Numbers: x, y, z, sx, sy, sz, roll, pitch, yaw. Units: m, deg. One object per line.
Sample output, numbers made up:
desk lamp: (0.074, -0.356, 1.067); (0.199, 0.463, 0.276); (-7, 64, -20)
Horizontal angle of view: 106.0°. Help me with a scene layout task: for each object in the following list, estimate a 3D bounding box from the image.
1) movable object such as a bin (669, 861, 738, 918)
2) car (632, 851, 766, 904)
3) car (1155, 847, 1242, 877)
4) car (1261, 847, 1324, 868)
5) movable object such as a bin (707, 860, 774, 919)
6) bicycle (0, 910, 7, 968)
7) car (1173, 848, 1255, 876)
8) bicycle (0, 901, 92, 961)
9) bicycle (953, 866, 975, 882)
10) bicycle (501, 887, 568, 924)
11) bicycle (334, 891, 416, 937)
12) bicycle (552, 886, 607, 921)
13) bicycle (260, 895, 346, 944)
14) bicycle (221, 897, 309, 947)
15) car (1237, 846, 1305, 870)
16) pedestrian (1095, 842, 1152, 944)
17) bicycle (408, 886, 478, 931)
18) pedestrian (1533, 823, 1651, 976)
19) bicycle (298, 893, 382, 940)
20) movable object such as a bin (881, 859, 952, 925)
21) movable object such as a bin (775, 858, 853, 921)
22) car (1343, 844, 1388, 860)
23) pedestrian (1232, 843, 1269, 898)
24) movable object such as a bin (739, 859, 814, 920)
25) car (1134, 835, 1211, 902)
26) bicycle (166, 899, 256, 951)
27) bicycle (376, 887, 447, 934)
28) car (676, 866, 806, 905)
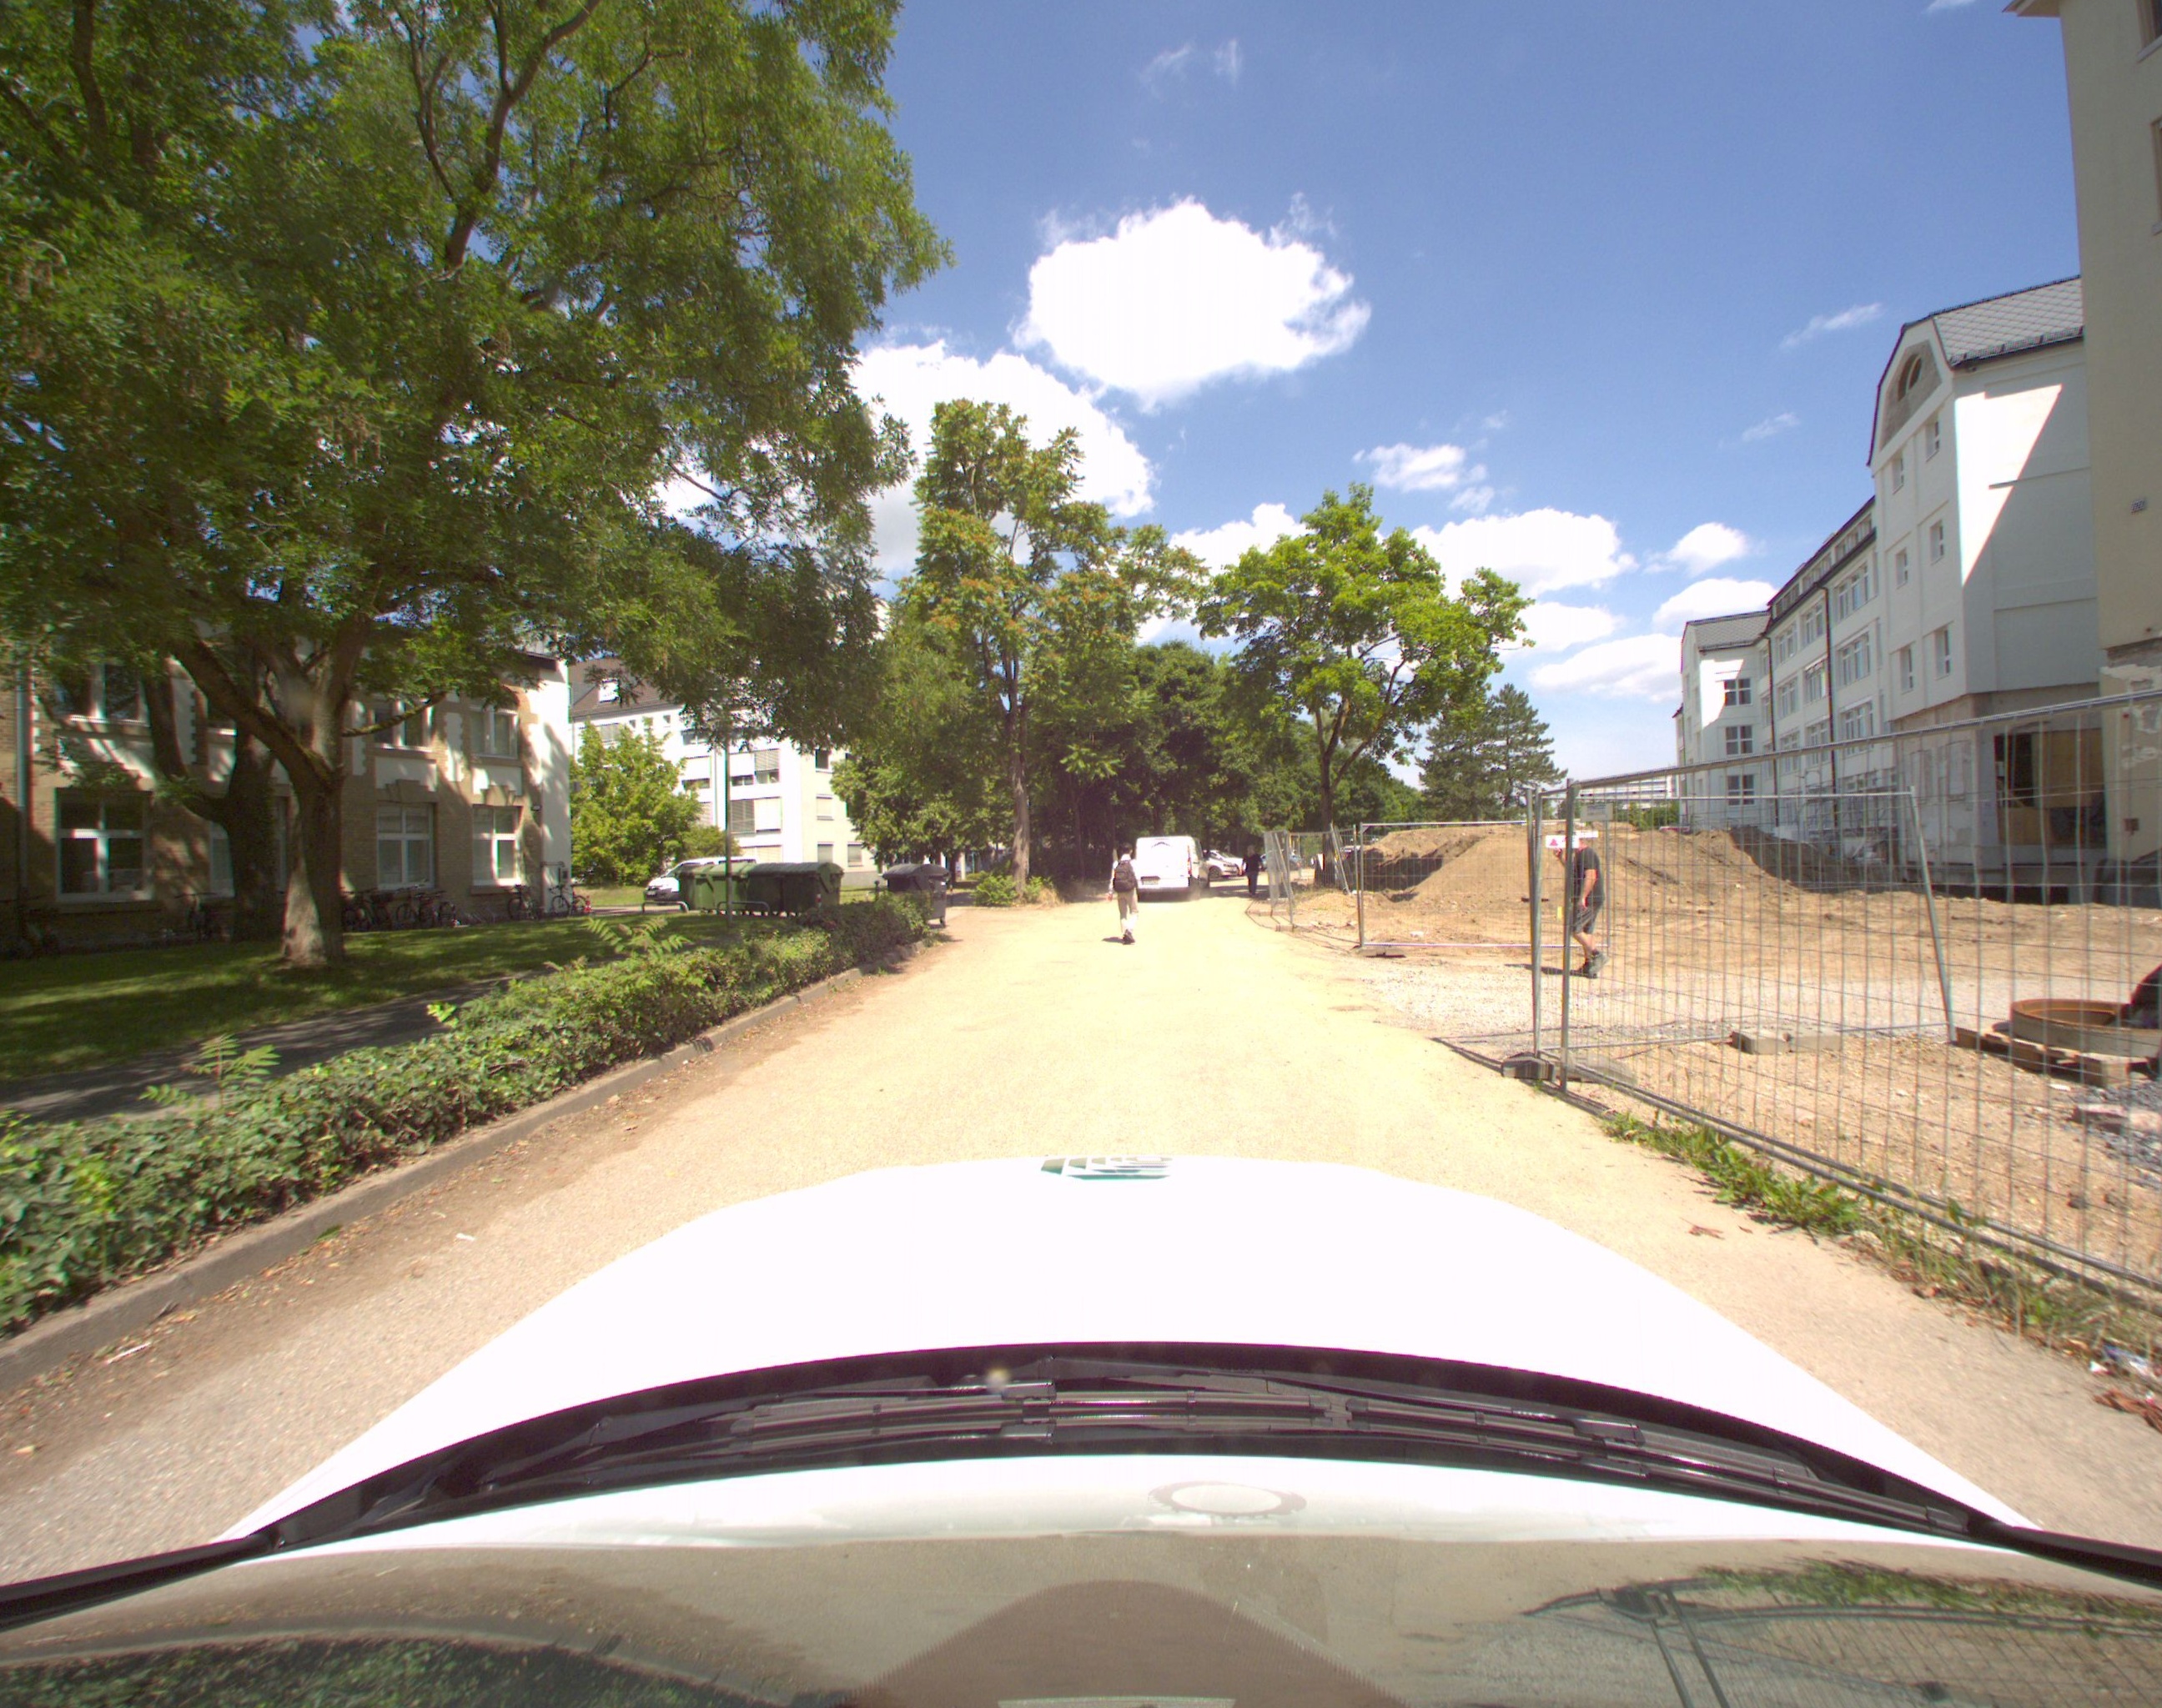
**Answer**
movable object such as a bin: (-10.306, 0.967, 22.248); (1.392, 1.479, 1.054); (-2, 0, 29)
car: (-16.005, 0.923, 34.378); (1.974, 2.013, 4.804); (-2, -1, 29)
car: (6.649, 0.506, 46.262); (4.463, 1.609, 2.012); (-1, -2, 29)
car: (16.760, 0.277, 64.536); (4.463, 1.597, 1.948); (-1, 0, 29)
movable object such as a bin: (-9.010, 0.935, 21.547); (1.246, 1.479, 1.054); (-2, 0, 29)
bicycle: (-19.828, 1.498, 14.259); (2.233, 1.011, 0.610); (-1, 0, 21)
car: (7.905, 0.474, 48.482); (4.463, 1.531, 1.736); (-1, 0, 28)
bicycle: (-19.270, 1.400, 15.111); (2.232, 1.011, 0.611); (-1, 0, 25)
bicycle: (-8.541, 1.466, 59.616); (0.594, 1.084, 1.951); (-2, 0, 27)
bicycle: (-15.204, 1.401, 22.636); (2.231, 0.958, 0.611); (-1, 0, 30)
bicycle: (-16.932, 1.421, 19.519); (2.232, 1.011, 0.611); (-1, 0, 25)
bicycle: (-14.618, 1.432, 23.732); (1.707, 0.958, 0.617); (-1, 0, 30)
bicycle: (-17.503, 1.454, 18.313); (2.232, 1.011, 0.611); (-1, 0, 25)
bicycle: (-17.761, 1.450, 17.711); (2.232, 1.011, 0.611); (-1, 0, 25)
car: (13.897, 0.320, 59.652); (4.463, 1.597, 1.736); (-1, 1, 28)
pedestrian: (0.769, 0.663, 14.447); (0.869, 1.729, 1.082); (-2, 0, 7)
bicycle: (-16.285, 1.362, 20.769); (2.231, 1.082, 0.611); (-1, 0, 30)
pedestrian: (6.369, 0.545, 10.207); (0.958, 1.819, 0.873); (-2, 0, 10)
bicycle: (-17.237, 1.430, 18.932); (2.232, 1.011, 0.611); (-1, 0, 25)
movable object such as a bin: (-3.689, 0.830, 18.262); (1.121, 1.394, 1.147); (-2, 0, -38)
movable object such as a bin: (-6.624, 0.877, 20.264); (1.308, 1.479, 1.215); (-2, 0, 26)
car: (31.900, -0.231, 91.262); (4.463, 1.597, 1.736); (-2, 0, 28)
pedestrian: (5.347, 0.501, 25.627); (1.028, 1.650, 1.053); (-2, 0, 14)
movable object such as a bin: (-7.794, 0.906, 20.878); (1.345, 1.479, 1.102); (-2, 0, 18)
car: (3.081, 0.417, 26.597); (1.959, 1.947, 4.597); (-2, 0, 12)
bicycle: (-18.190, 1.461, 17.022); (2.232, 1.011, 0.611); (-1, 0, 25)
bicycle: (-16.635, 1.380, 20.224); (2.231, 1.082, 0.611); (-1, 0, 30)
car: (-13.525, 1.222, 32.711); (1.810, 1.352, 4.655); (-1, 0, 29)
